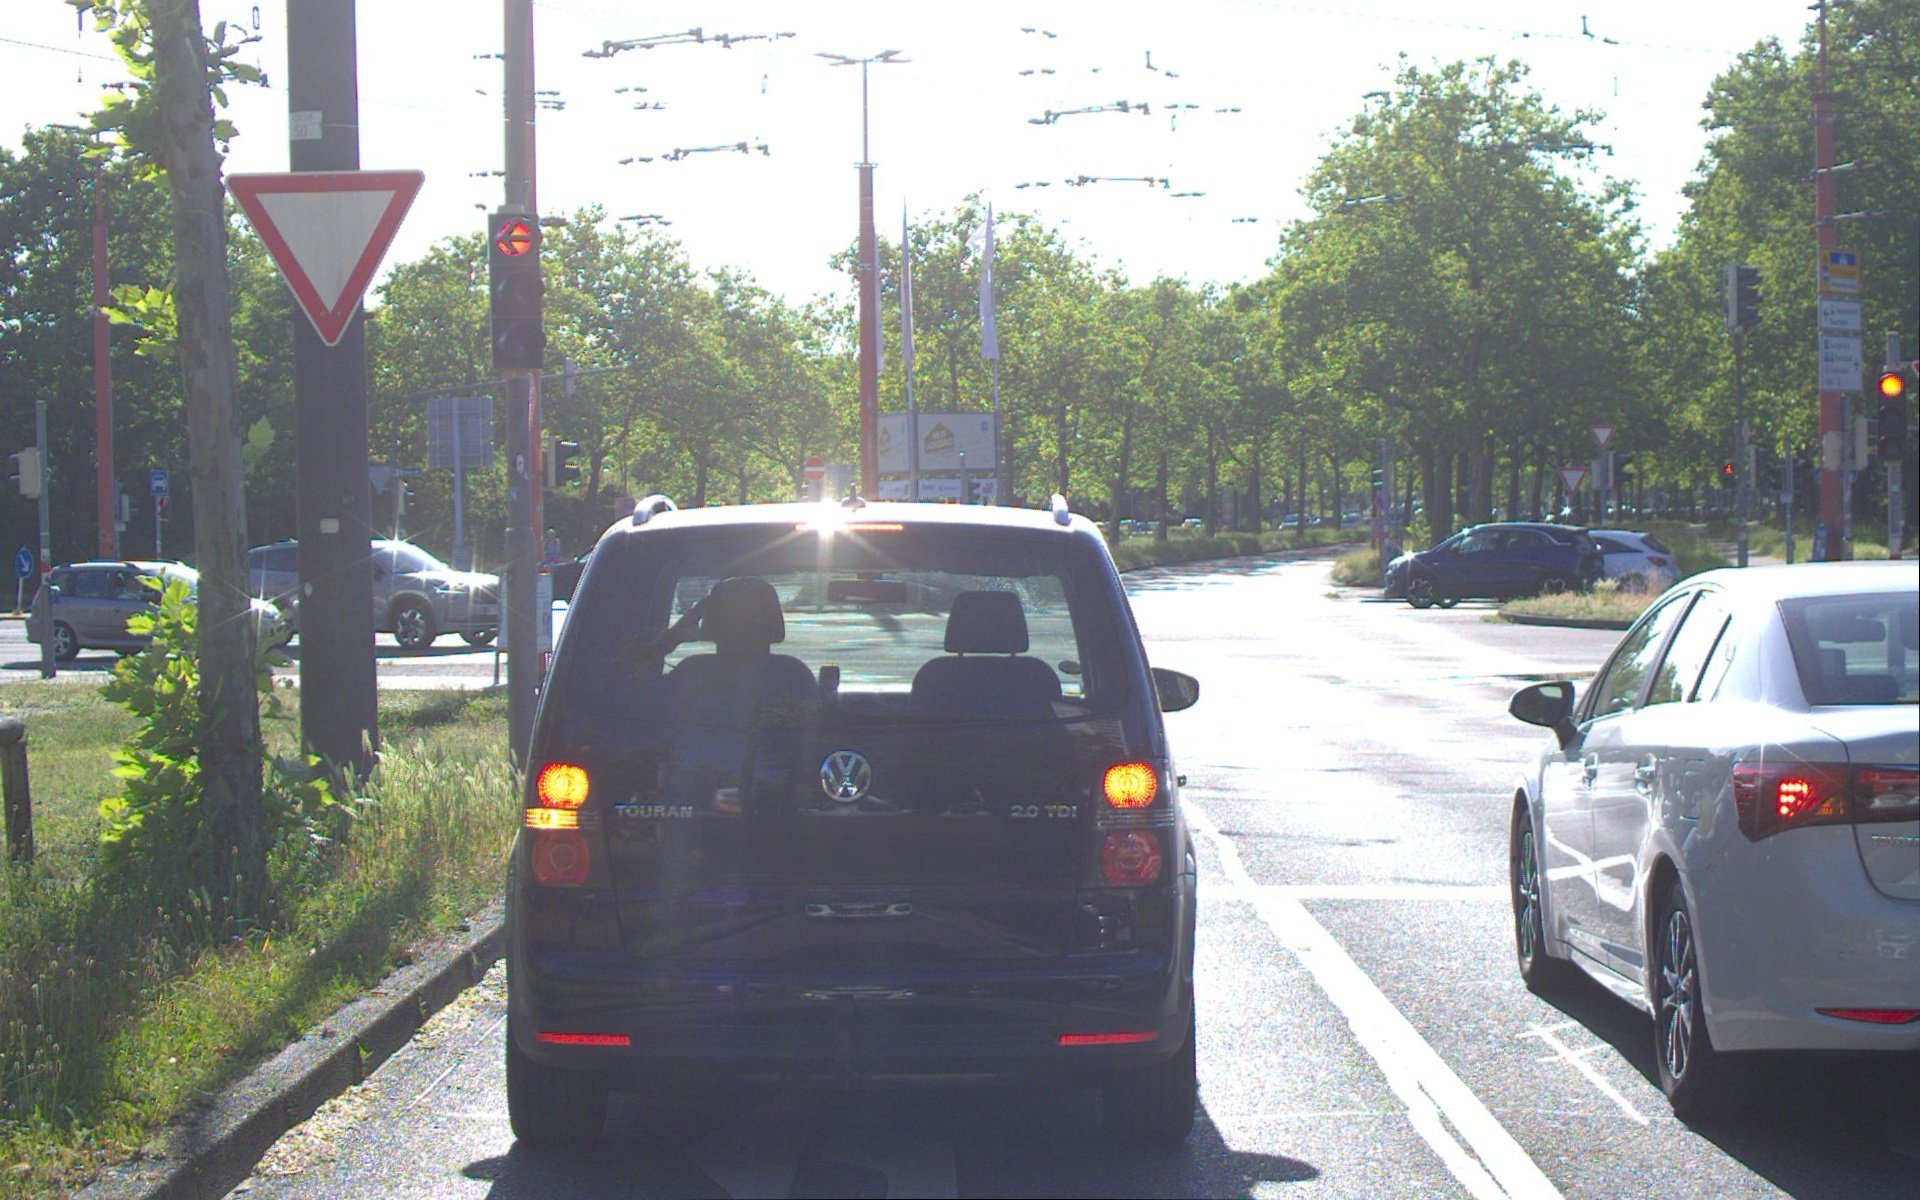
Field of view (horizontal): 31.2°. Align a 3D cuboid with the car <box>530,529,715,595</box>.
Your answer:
[{"bbox_3d":[-7.683,-0.873,78.183,3.919,1.452,1.654,1,1,26],"label":"car"}]

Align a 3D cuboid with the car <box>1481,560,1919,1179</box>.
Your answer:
[{"bbox_3d":[2.757,0.616,10.156,1.799,1.435,4.326,1,1,1],"label":"car"}]

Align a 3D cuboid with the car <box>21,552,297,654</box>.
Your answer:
[{"bbox_3d":[-11.833,0.020,50.757,3.835,1.436,1.654,1,1,28],"label":"car"}]

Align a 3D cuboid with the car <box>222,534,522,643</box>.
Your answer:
[{"bbox_3d":[-9.194,-0.209,53.650,4.636,1.641,1.654,1,1,30],"label":"car"}]

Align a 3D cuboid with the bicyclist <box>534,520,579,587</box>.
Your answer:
[{"bbox_3d":[-11.529,-1.323,98.237,0.977,1.897,1.050,0,1,12],"label":"bicyclist"}]

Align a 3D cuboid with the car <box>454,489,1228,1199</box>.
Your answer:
[{"bbox_3d":[-0.253,0.535,9.978,1.738,1.597,4.326,1,1,1],"label":"car"}]

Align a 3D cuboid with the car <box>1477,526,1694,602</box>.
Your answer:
[{"bbox_3d":[12.348,-0.723,67.880,3.919,1.452,1.654,1,1,26],"label":"car"}]

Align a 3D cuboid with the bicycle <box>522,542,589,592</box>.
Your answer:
[{"bbox_3d":[-11.535,-0.948,98.202,0.977,1.384,2.978,0,1,12],"label":"bicycle"}]

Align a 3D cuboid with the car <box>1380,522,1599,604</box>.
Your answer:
[{"bbox_3d":[10.009,-0.717,65.032,3.796,1.505,1.655,1,1,24],"label":"car"}]
